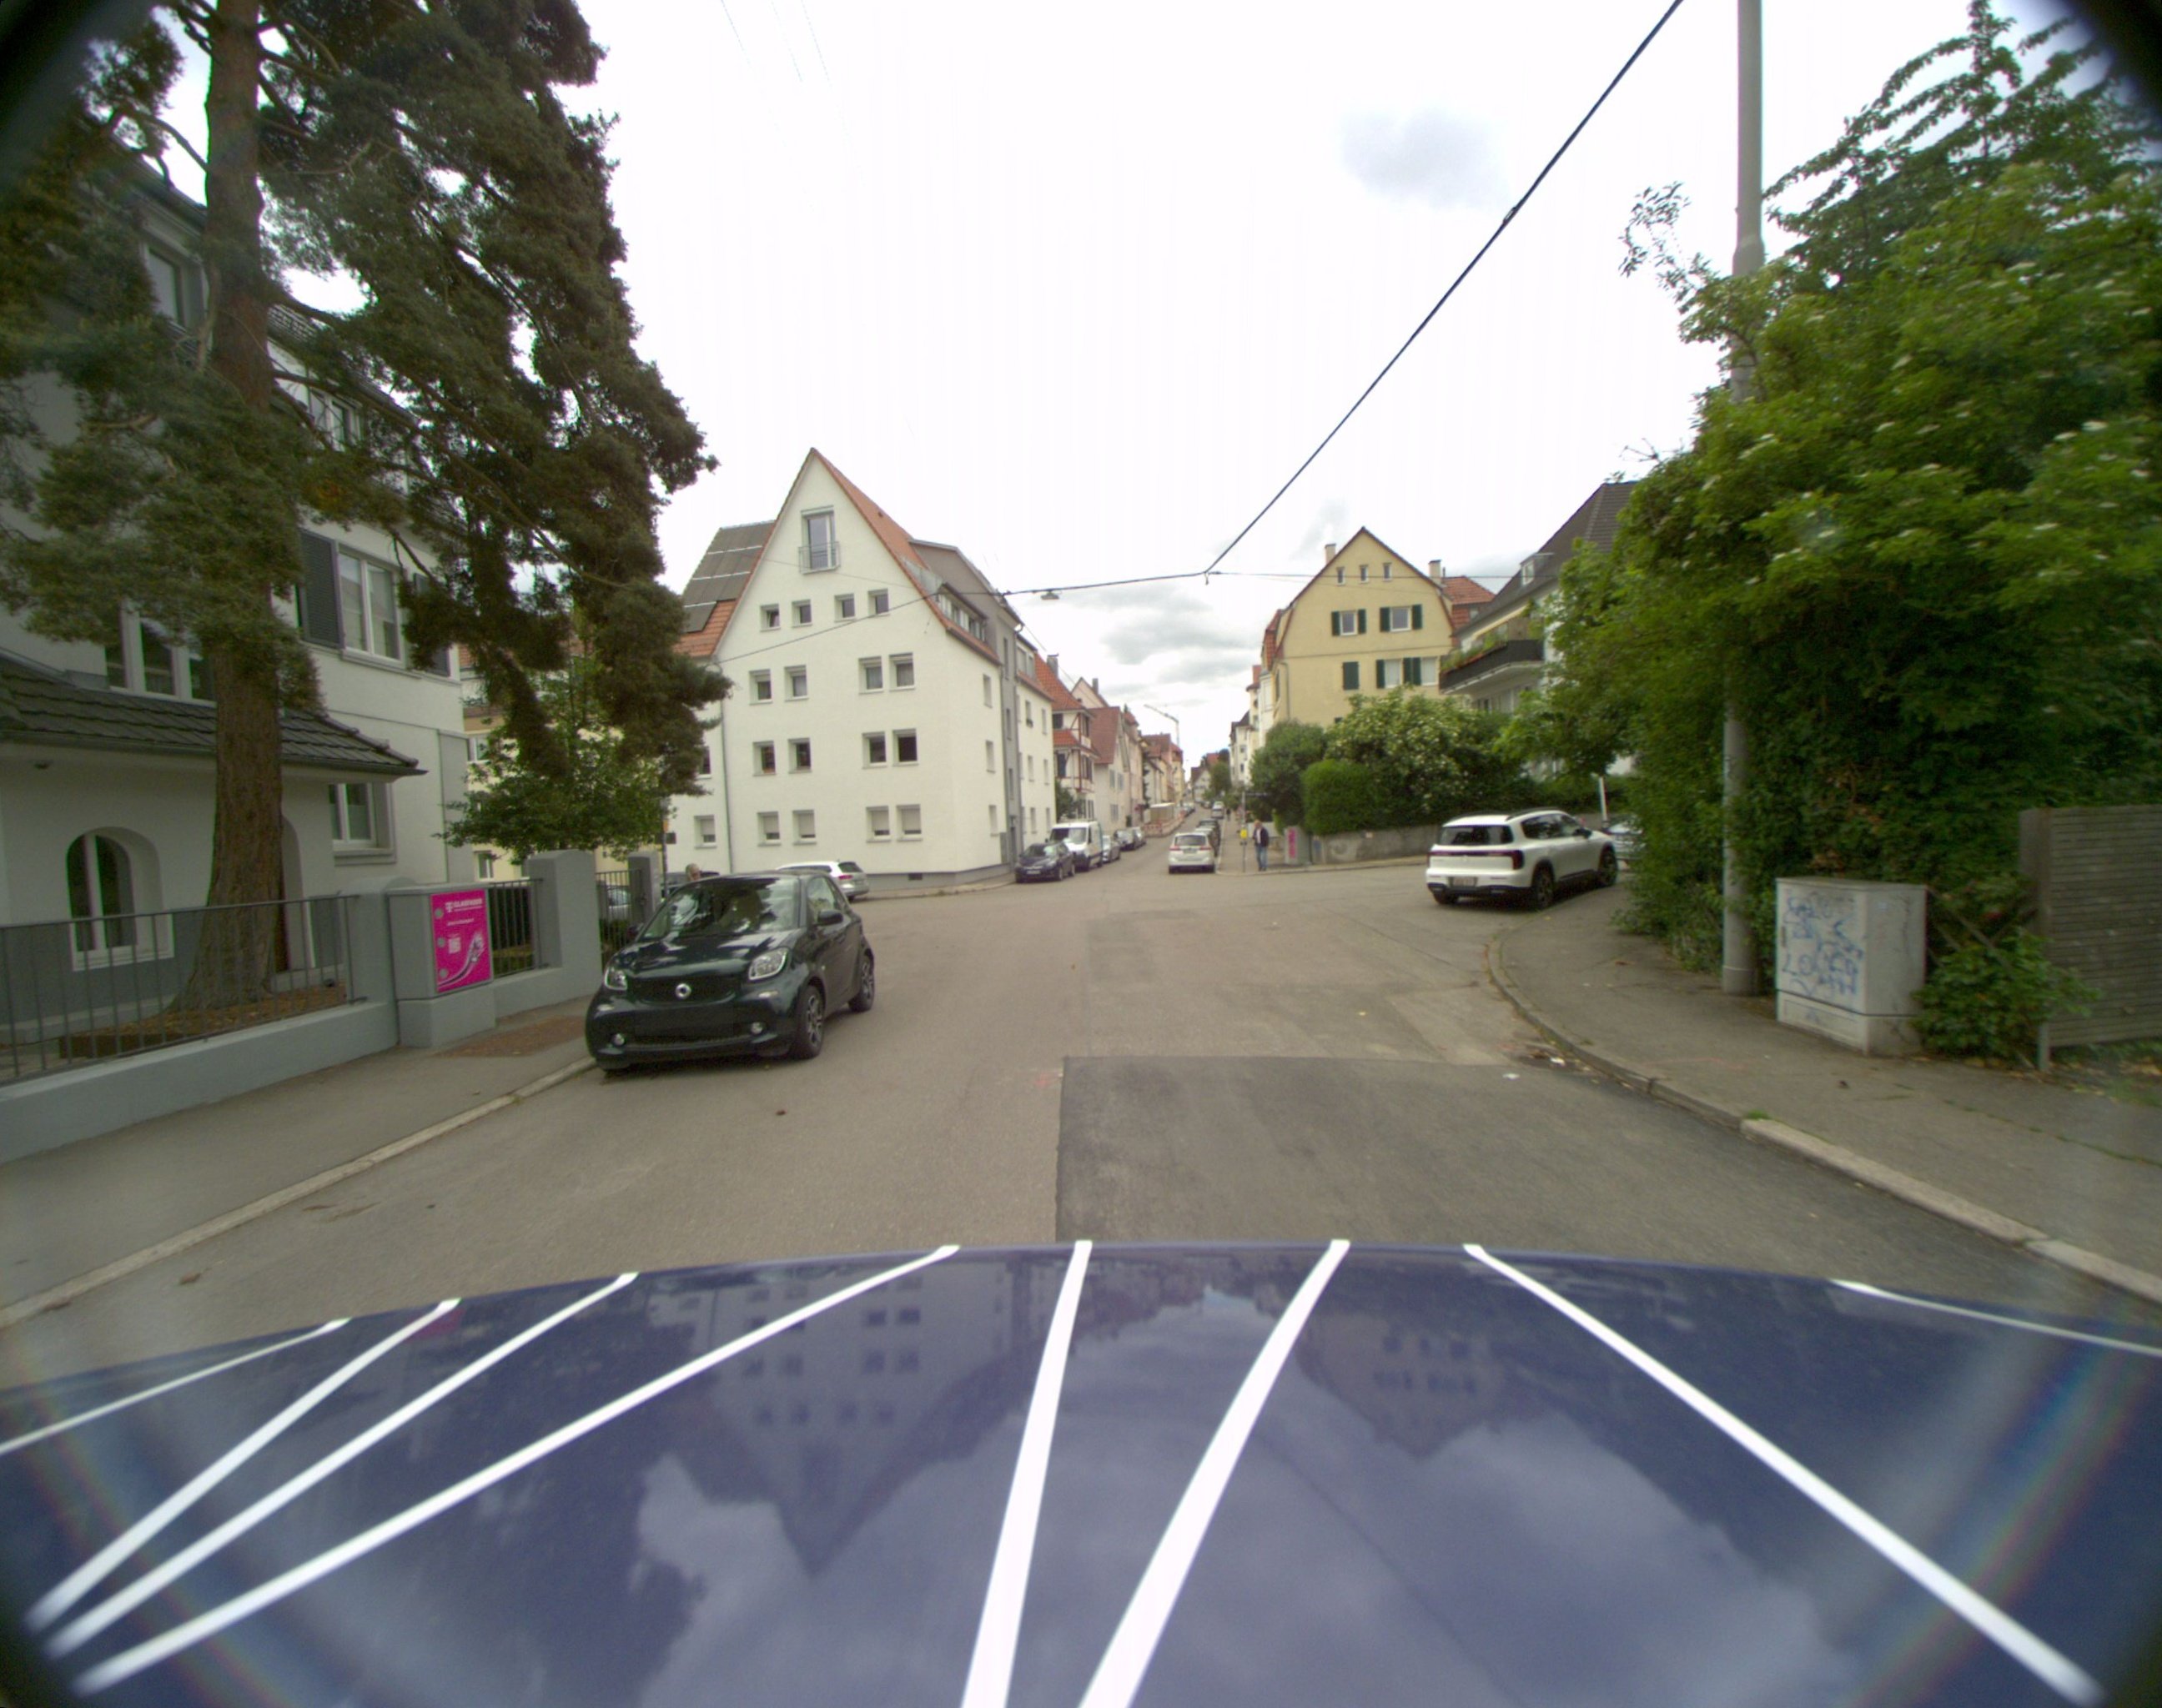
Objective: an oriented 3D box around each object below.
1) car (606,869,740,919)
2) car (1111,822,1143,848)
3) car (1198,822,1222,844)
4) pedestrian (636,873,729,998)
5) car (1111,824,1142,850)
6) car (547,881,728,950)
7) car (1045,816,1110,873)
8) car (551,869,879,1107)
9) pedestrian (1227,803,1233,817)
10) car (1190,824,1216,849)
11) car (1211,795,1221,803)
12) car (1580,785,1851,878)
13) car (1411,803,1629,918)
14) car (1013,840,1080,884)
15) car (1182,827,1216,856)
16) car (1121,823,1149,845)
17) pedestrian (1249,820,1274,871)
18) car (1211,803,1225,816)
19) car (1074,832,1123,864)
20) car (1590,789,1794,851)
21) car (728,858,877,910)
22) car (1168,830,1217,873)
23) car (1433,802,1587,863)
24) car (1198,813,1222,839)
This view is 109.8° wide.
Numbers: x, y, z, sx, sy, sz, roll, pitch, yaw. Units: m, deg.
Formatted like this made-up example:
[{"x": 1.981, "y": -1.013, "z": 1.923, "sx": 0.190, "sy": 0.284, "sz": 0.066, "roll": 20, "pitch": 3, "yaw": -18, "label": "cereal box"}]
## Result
[{"x": -14.386, "y": 1.414, "z": 26.864, "sx": 3.993, "sy": 1.414, "sz": 1.739, "roll": -4, "pitch": 1, "yaw": 16, "label": "car"}, {"x": 3.298, "y": -1.377, "z": 53.597, "sx": 1.780, "sy": 1.711, "sz": 4.001, "roll": -3, "pitch": 2, "yaw": 9, "label": "car"}, {"x": 9.369, "y": -1.534, "z": 54.952, "sx": 1.641, "sy": 1.391, "sz": 3.703, "roll": -1, "pitch": 4, "yaw": 11, "label": "car"}, {"x": -5.367, "y": 1.065, "z": 10.287, "sx": 0.682, "sy": 1.568, "sz": 0.906, "roll": 0, "pitch": 3, "yaw": 6, "label": "pedestrian"}, {"x": 3.206, "y": -1.229, "z": 53.269, "sx": 1.608, "sy": 1.482, "sz": 4.023, "roll": -3, "pitch": 4, "yaw": 11, "label": "car"}, {"x": -10.835, "y": 1.496, "z": 18.681, "sx": 3.474, "sy": 1.255, "sz": 1.671, "roll": -4, "pitch": 4, "yaw": 11, "label": "car"}, {"x": -0.055, "y": -0.560, "z": 36.569, "sx": 1.997, "sy": 2.409, "sz": 5.294, "roll": -1, "pitch": 4, "yaw": 12, "label": "car"}, {"x": -3.019, "y": 0.993, "z": 6.931, "sx": 1.576, "sy": 1.523, "sz": 2.867, "roll": -5, "pitch": 1, "yaw": -3, "label": "car"}, {"x": 18.231, "y": -5.364, "z": 93.031, "sx": 0.616, "sy": 1.648, "sz": 0.812, "roll": -3, "pitch": 4, "yaw": 12, "label": "pedestrian"}, {"x": 8.163, "y": -1.215, "z": 50.579, "sx": 1.641, "sy": 1.421, "sz": 4.123, "roll": 0, "pitch": 4, "yaw": 11, "label": "car"}, {"x": 28.757, "y": -11.790, "z": 161.755, "sx": 1.781, "sy": 1.558, "sz": 4.000, "roll": -2, "pitch": 5, "yaw": 12, "label": "car"}, {"x": 13.661, "y": -0.495, "z": 16.504, "sx": 4.513, "sy": 1.429, "sz": 1.833, "roll": -7, "pitch": 2, "yaw": -6, "label": "car"}, {"x": 8.360, "y": 0.036, "z": 14.318, "sx": 4.521, "sy": 1.646, "sz": 1.830, "roll": -6, "pitch": 3, "yaw": -36, "label": "car"}, {"x": -1.301, "y": 0.268, "z": 30.765, "sx": 1.822, "sy": 1.478, "sz": 4.287, "roll": -2, "pitch": 2, "yaw": 9, "label": "car"}, {"x": 7.087, "y": -0.798, "z": 45.228, "sx": 1.805, "sy": 1.472, "sz": 4.329, "roll": -1, "pitch": 4, "yaw": 11, "label": "car"}, {"x": 4.127, "y": -1.576, "z": 58.012, "sx": 1.628, "sy": 1.385, "sz": 4.236, "roll": -3, "pitch": 3, "yaw": 10, "label": "car"}, {"x": 6.441, "y": -0.313, "z": 27.110, "sx": 0.642, "sy": 1.750, "sz": 0.823, "roll": -4, "pitch": 2, "yaw": 22, "label": "pedestrian"}, {"x": 18.545, "y": -6.076, "z": 103.028, "sx": 1.661, "sy": 1.559, "sz": 4.000, "roll": -1, "pitch": 5, "yaw": 12, "label": "car"}, {"x": 1.041, "y": -0.388, "z": 42.462, "sx": 1.827, "sy": 1.437, "sz": 4.384, "roll": -3, "pitch": 4, "yaw": 12, "label": "car"}, {"x": 18.836, "y": -1.039, "z": 23.586, "sx": 4.730, "sy": 1.474, "sz": 1.888, "roll": -4, "pitch": 2, "yaw": 1, "label": "car"}, {"x": -9.320, "y": 0.986, "z": 25.550, "sx": 4.352, "sy": 1.441, "sz": 1.765, "roll": -3, "pitch": 1, "yaw": 12, "label": "car"}, {"x": 4.716, "y": -0.159, "z": 31.718, "sx": 1.807, "sy": 1.650, "sz": 4.153, "roll": -1, "pitch": 2, "yaw": 11, "label": "car"}, {"x": 13.340, "y": -0.668, "z": 23.799, "sx": 3.716, "sy": 1.514, "sz": 1.787, "roll": -5, "pitch": 1, "yaw": 2, "label": "car"}, {"x": 10.154, "y": -2.262, "z": 60.081, "sx": 1.752, "sy": 1.788, "sz": 4.148, "roll": -1, "pitch": 5, "yaw": 8, "label": "car"}]
